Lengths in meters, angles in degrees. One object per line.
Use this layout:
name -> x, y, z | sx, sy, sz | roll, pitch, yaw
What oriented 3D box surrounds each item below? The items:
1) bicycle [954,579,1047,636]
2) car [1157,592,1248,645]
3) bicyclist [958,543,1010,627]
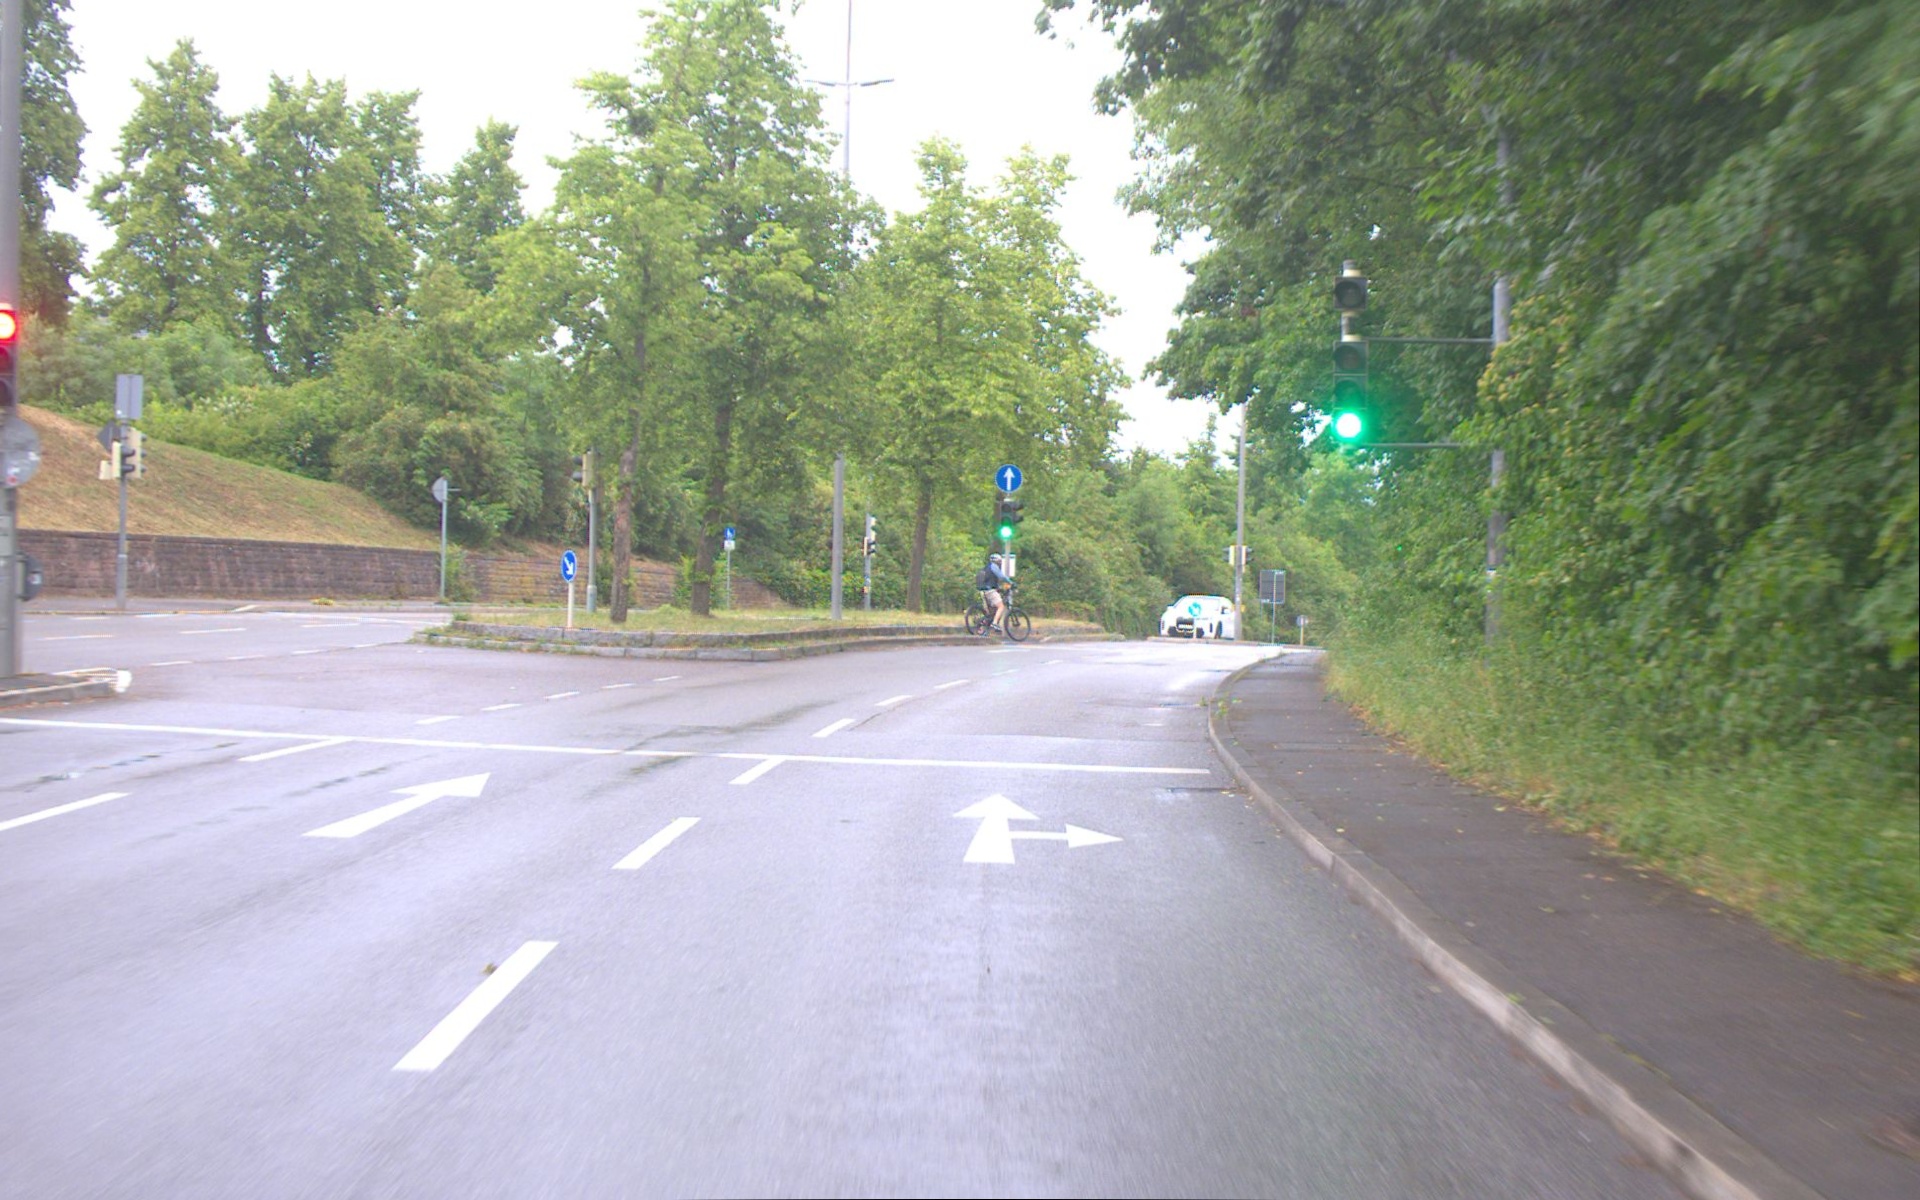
bicycle -> 0.866, 0.167, 73.165 | 2.134, 1.139, 0.554 | 3, 0, -43
car -> 8.389, 0.669, 118.725 | 1.947, 1.630, 5.000 | 3, -1, 18
bicyclist -> 0.518, -0.312, 73.174 | 0.799, 1.746, 0.725 | 4, -4, -43
